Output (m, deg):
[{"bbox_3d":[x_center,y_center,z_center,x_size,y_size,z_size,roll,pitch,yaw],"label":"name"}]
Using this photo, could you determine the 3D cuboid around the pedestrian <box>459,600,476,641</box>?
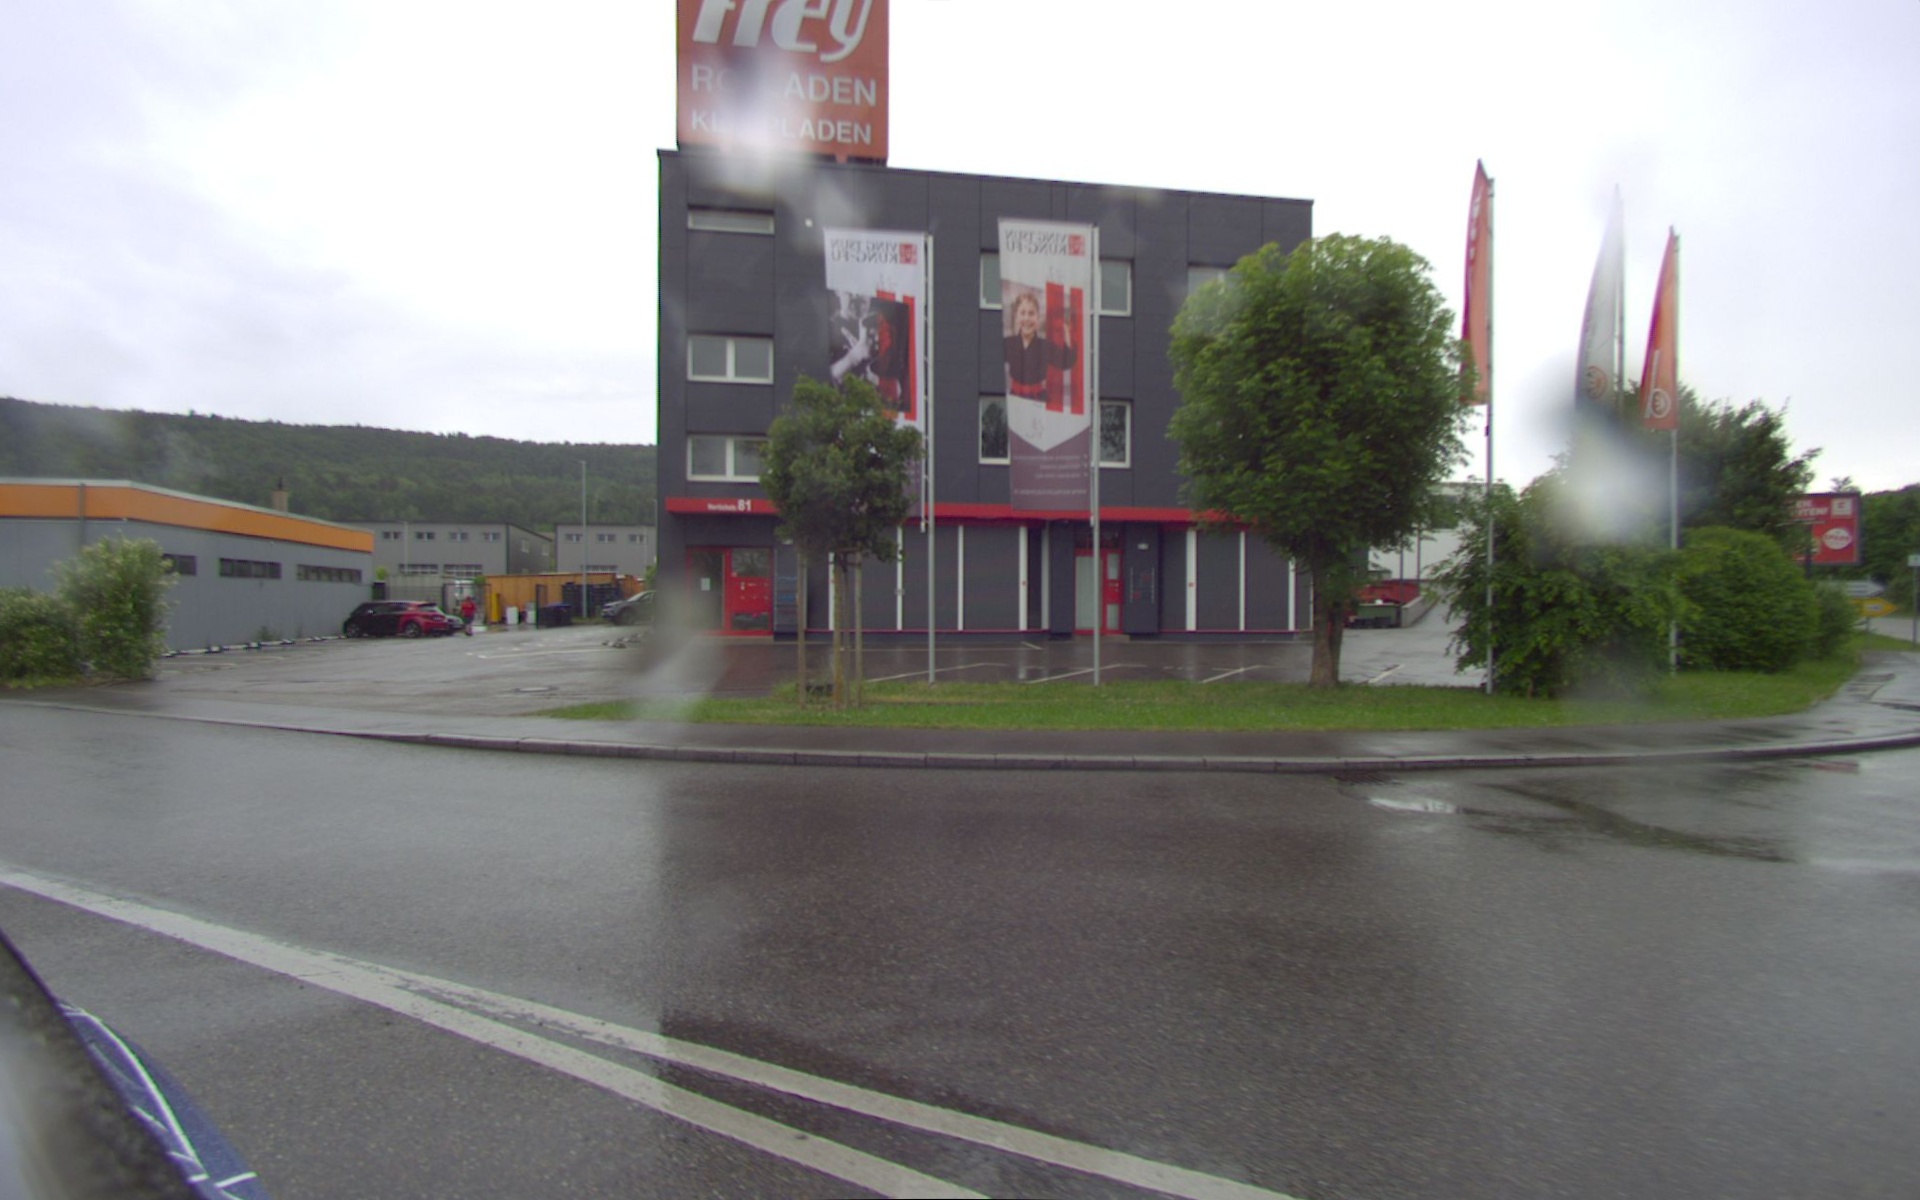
[{"bbox_3d":[-20.123,0.828,41.333,0.425,1.684,0.704,0,-1,-7],"label":"pedestrian"}]

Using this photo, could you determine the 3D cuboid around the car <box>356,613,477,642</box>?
[{"bbox_3d":[-23.048,1.143,43.032,4.139,1.169,1.931,0,-1,2],"label":"car"}]

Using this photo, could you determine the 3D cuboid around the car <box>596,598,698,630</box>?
[{"bbox_3d":[-14.387,0.622,46.521,4.125,1.397,2.006,0,-1,-31],"label":"car"}]

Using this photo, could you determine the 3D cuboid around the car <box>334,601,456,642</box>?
[{"bbox_3d":[-22.562,0.849,40.462,3.954,1.587,1.919,0,-1,9],"label":"car"}]
